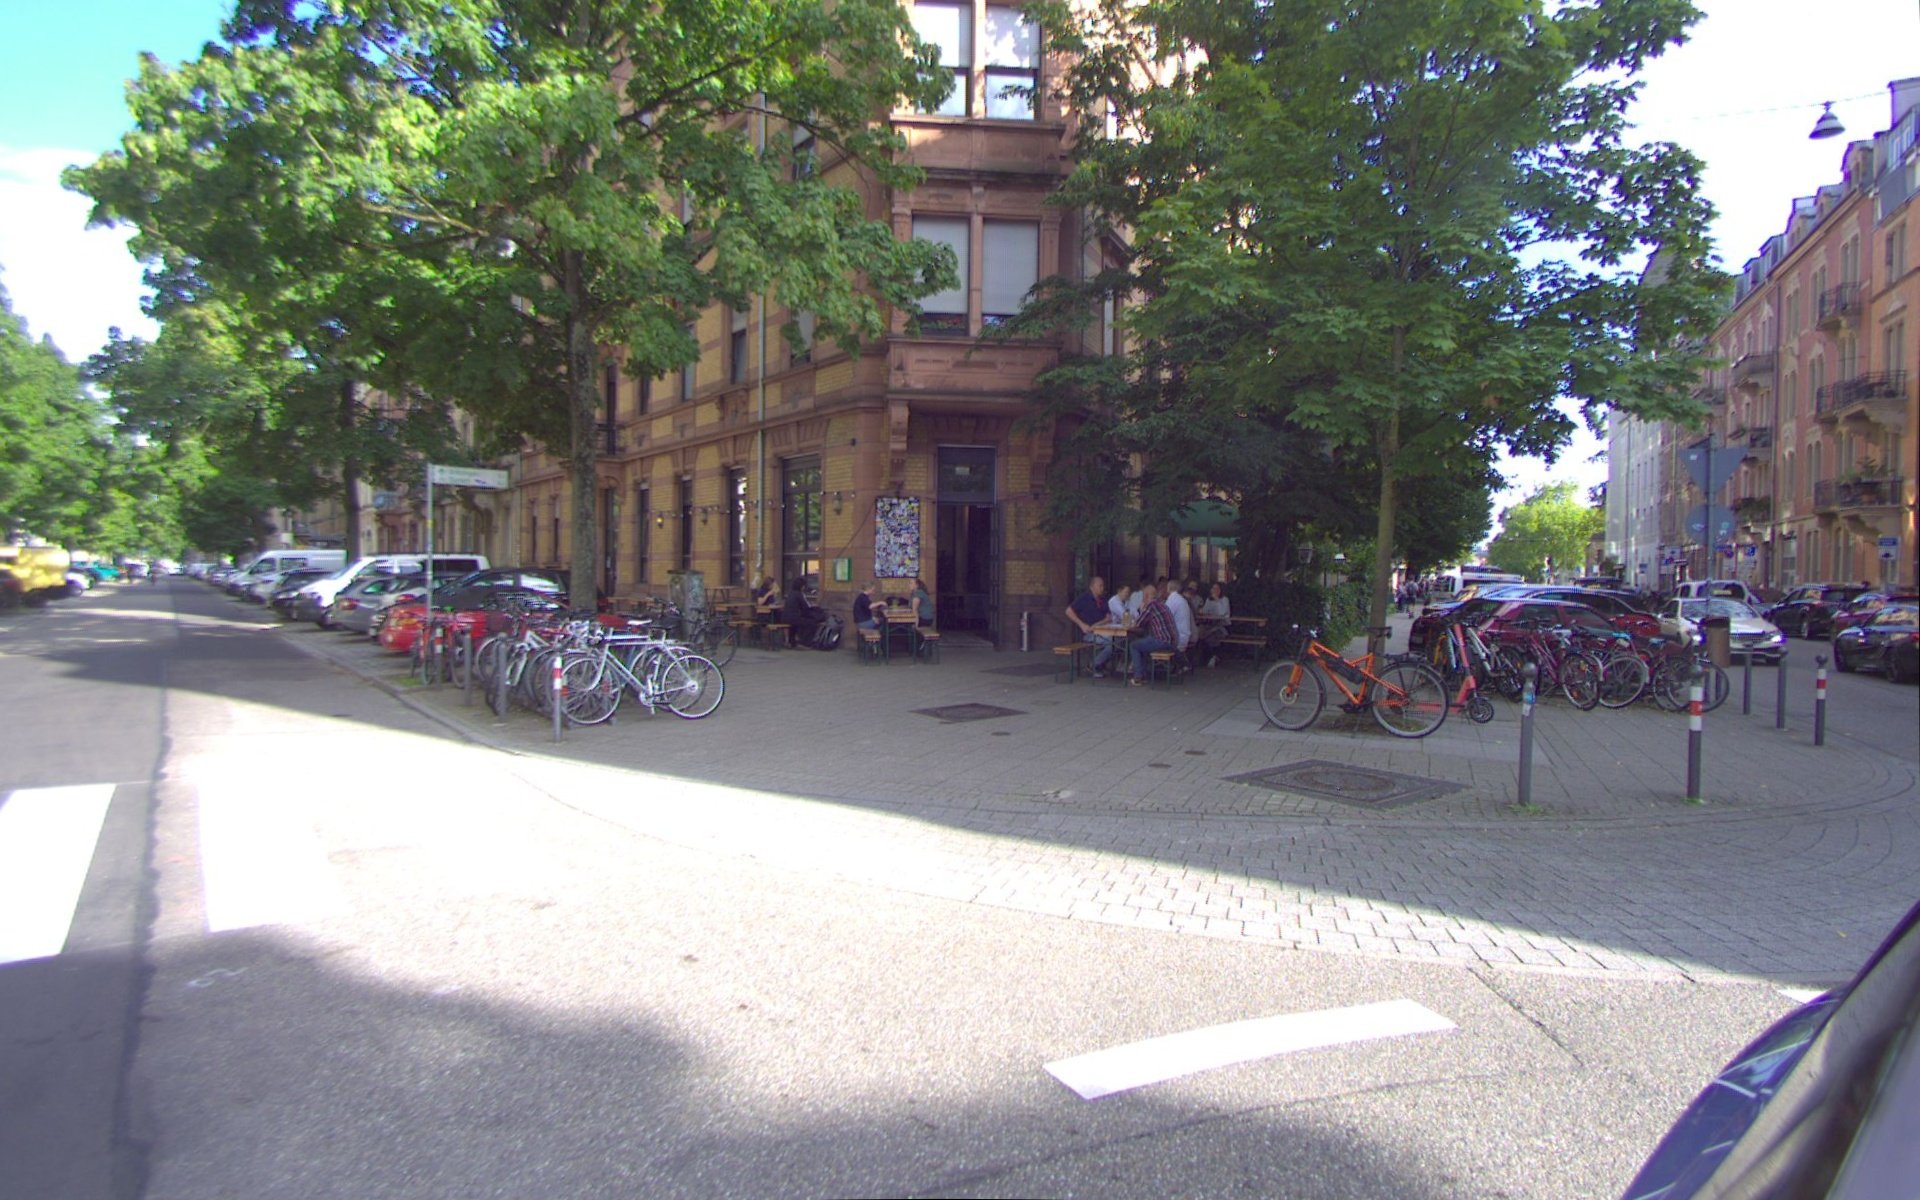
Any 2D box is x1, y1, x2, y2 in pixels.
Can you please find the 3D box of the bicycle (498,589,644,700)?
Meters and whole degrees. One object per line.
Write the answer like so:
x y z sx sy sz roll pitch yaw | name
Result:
-4.781 0.505 12.536 0.446 1.216 1.690 2 3 37 | bicycle

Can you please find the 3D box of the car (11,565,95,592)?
-59.962 -1.415 66.948 1.723 1.659 3.803 1 0 33 | car

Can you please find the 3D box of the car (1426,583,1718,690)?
9.449 0.527 15.822 3.521 1.397 1.513 3 2 2 | car

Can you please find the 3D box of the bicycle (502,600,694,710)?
-4.066 0.590 11.432 2.003 1.102 0.449 -2 3 -25 | bicycle

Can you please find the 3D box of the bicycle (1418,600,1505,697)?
6.566 0.598 13.316 0.426 1.114 1.672 3 2 6 | bicycle

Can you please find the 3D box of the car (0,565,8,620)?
-28.360 -0.220 26.595 1.731 1.514 4.592 1 0 24 | car

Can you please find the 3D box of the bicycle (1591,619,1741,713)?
9.071 0.814 13.102 0.462 0.997 1.867 2 2 -4 | bicycle

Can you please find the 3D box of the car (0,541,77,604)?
-34.853 -0.983 36.012 2.121 2.249 4.778 1 0 20 | car

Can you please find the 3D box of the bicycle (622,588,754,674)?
-3.981 0.427 14.868 1.766 1.127 0.600 -2 3 -34 | bicycle

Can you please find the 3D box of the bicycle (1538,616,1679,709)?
8.429 0.779 13.254 0.462 0.997 1.867 2 2 -4 | bicycle

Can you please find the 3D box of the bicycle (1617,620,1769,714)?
9.518 0.836 13.240 0.462 0.997 1.867 2 2 -4 | bicycle

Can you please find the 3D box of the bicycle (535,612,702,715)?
-3.729 0.663 11.097 1.677 0.999 0.449 -1 3 -25 | bicycle

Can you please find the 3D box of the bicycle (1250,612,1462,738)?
3.822 0.686 9.813 1.839 1.048 0.677 2 2 27 | bicycle

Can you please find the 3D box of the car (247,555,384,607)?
-26.061 -0.815 40.995 4.384 1.855 1.933 -4 4 -41 | car

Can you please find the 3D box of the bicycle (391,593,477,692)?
-7.137 0.514 13.666 0.571 1.109 2.499 -4 5 -37 | bicycle

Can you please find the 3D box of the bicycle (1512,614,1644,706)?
7.984 0.743 13.173 0.409 0.997 1.841 2 2 -4 | bicycle

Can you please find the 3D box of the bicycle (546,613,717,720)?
-3.470 0.674 10.740 1.677 0.999 0.449 -1 3 -25 | bicycle

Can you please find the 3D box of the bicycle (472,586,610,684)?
-5.699 0.451 13.820 1.680 1.216 0.448 -2 3 -34 | bicycle

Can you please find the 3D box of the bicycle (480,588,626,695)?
-5.171 0.492 12.933 0.447 1.216 1.686 2 4 43 | bicycle

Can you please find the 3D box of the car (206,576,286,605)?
-44.241 -0.598 62.723 3.928 1.754 1.827 -1 1 -39 | car

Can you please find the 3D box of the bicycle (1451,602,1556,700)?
7.107 0.632 13.307 0.466 1.114 1.675 3 2 2 | bicycle

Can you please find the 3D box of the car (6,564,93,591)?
-58.153 -1.400 64.691 1.723 1.659 3.803 1 0 33 | car

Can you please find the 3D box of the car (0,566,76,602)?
-45.500 -0.768 48.959 1.723 1.659 3.803 1 0 33 | car

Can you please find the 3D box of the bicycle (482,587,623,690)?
-5.355 0.470 13.394 0.447 1.216 1.686 2 4 43 | bicycle

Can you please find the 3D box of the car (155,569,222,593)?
-57.853 -1.412 75.891 3.928 1.754 1.827 -1 1 -39 | car

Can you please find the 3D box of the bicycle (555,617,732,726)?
-3.225 0.703 10.354 1.677 0.981 0.449 -1 3 -25 | bicycle

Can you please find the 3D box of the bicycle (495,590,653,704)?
-4.510 0.521 11.861 1.677 1.216 0.449 -1 3 -25 | bicycle

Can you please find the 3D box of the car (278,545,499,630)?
-15.341 -0.426 27.345 4.829 2.013 2.044 -4 4 -41 | car

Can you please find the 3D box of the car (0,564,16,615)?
-30.121 -0.320 28.712 1.731 1.514 4.592 1 0 24 | car

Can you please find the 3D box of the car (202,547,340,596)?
-33.004 -1.358 48.569 5.382 2.229 1.998 -1 0 -38 | car

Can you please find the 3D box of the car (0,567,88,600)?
-48.378 -0.831 52.931 1.717 1.659 3.815 1 0 25 | car

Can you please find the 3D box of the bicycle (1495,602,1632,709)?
7.613 0.657 12.869 0.466 1.157 1.841 2 2 -4 | bicycle

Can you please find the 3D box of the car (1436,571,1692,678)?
10.662 0.386 18.060 3.524 1.635 1.512 3 2 4 | car
